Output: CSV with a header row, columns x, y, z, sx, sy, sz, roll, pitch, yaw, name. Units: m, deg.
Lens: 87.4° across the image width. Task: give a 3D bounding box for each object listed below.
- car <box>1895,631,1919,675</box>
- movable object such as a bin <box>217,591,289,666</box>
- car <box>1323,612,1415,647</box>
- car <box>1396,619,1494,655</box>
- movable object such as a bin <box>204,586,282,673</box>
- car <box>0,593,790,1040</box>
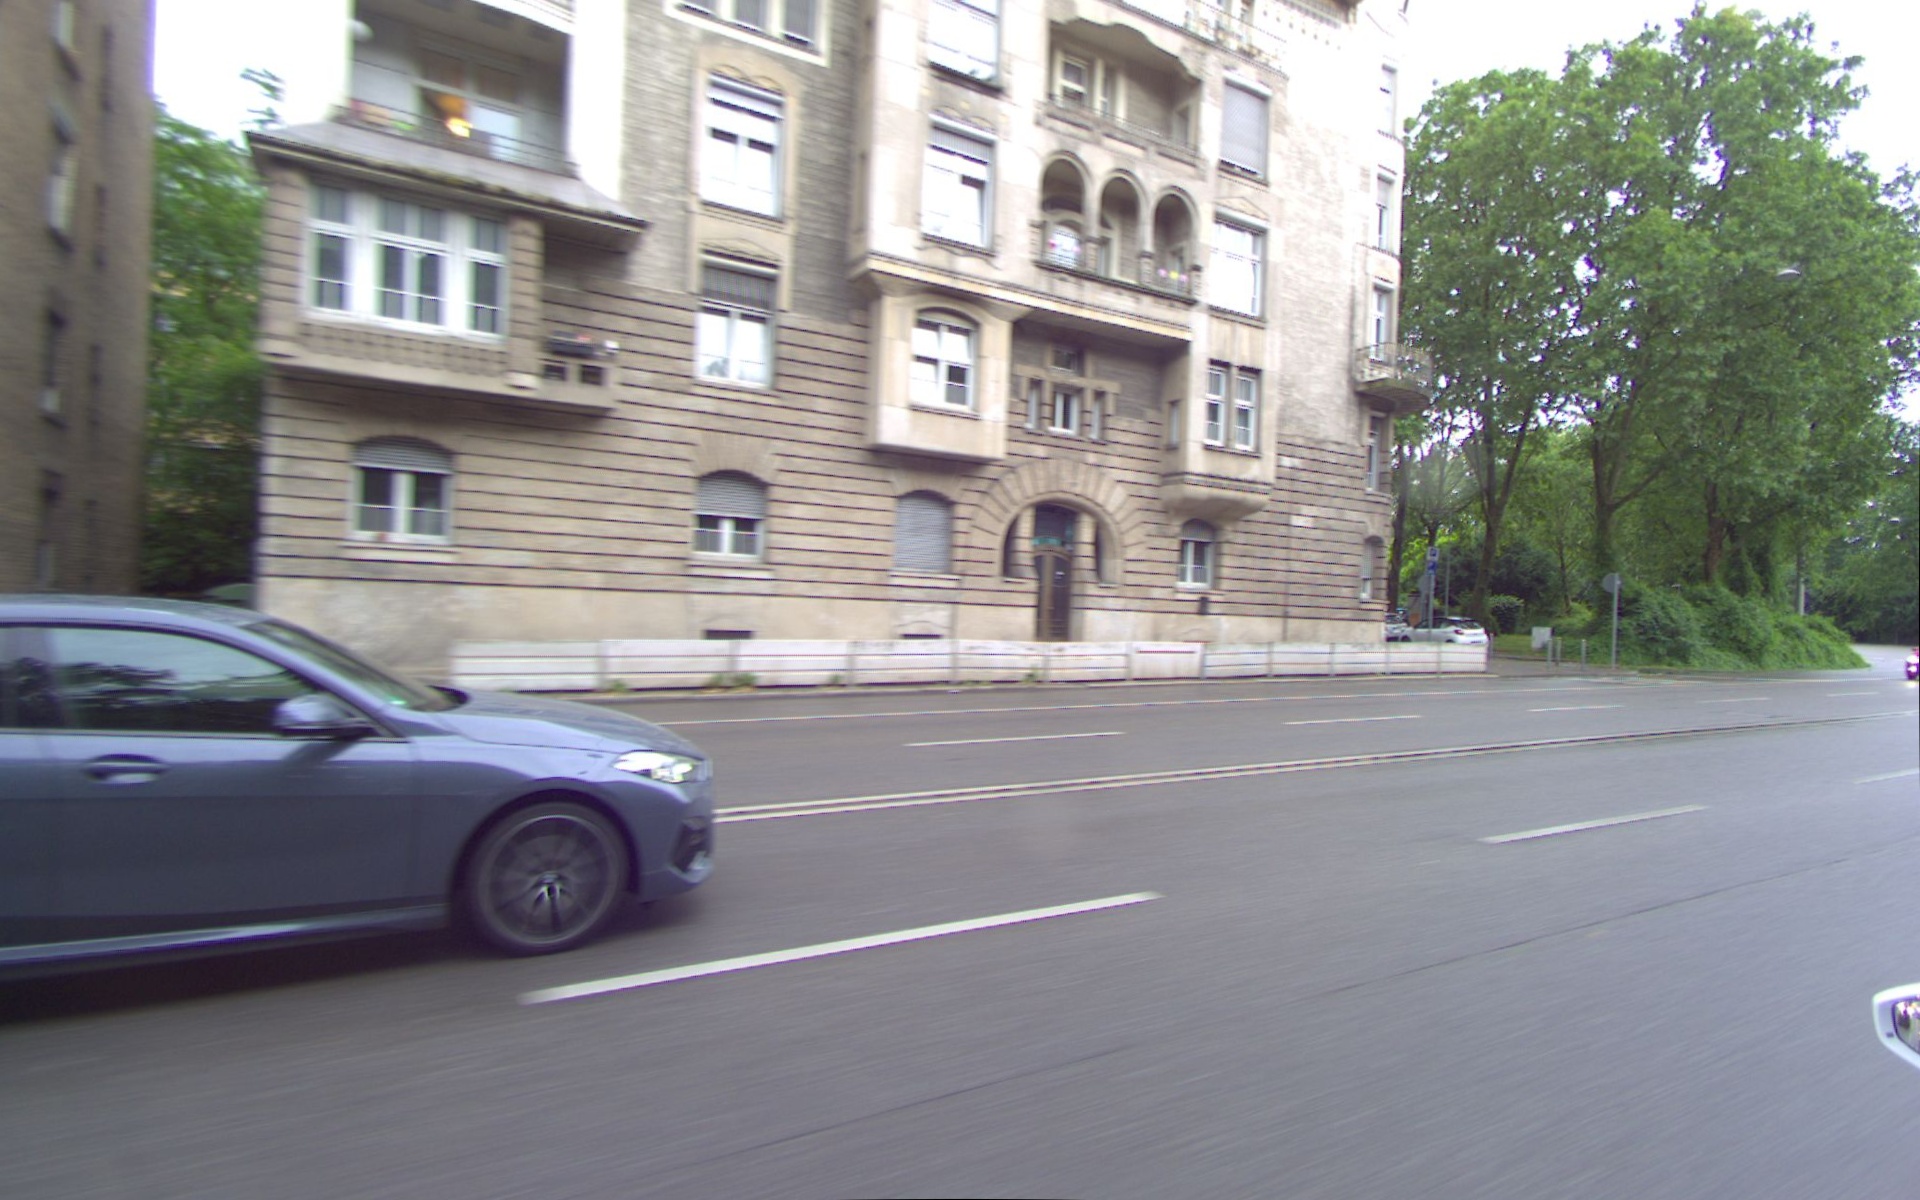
x,y,z,sx,sy,sz,roll,pitch,yaw,name
33.037,1.771,33.580,3.916,1.433,1.572,1,-1,-31,car
-13.386,0.523,19.060,1.011,1.350,1.019,-2,1,-32,movable object such as a bin
18.645,1.325,45.970,1.753,1.532,3.805,0,0,-22,car
20.269,1.517,42.122,1.752,1.394,3.489,0,0,-20,car
-12.638,0.494,17.733,1.011,1.454,1.019,-2,1,-32,movable object such as a bin
-3.131,0.709,4.182,4.488,1.434,1.657,1,0,-31,car
